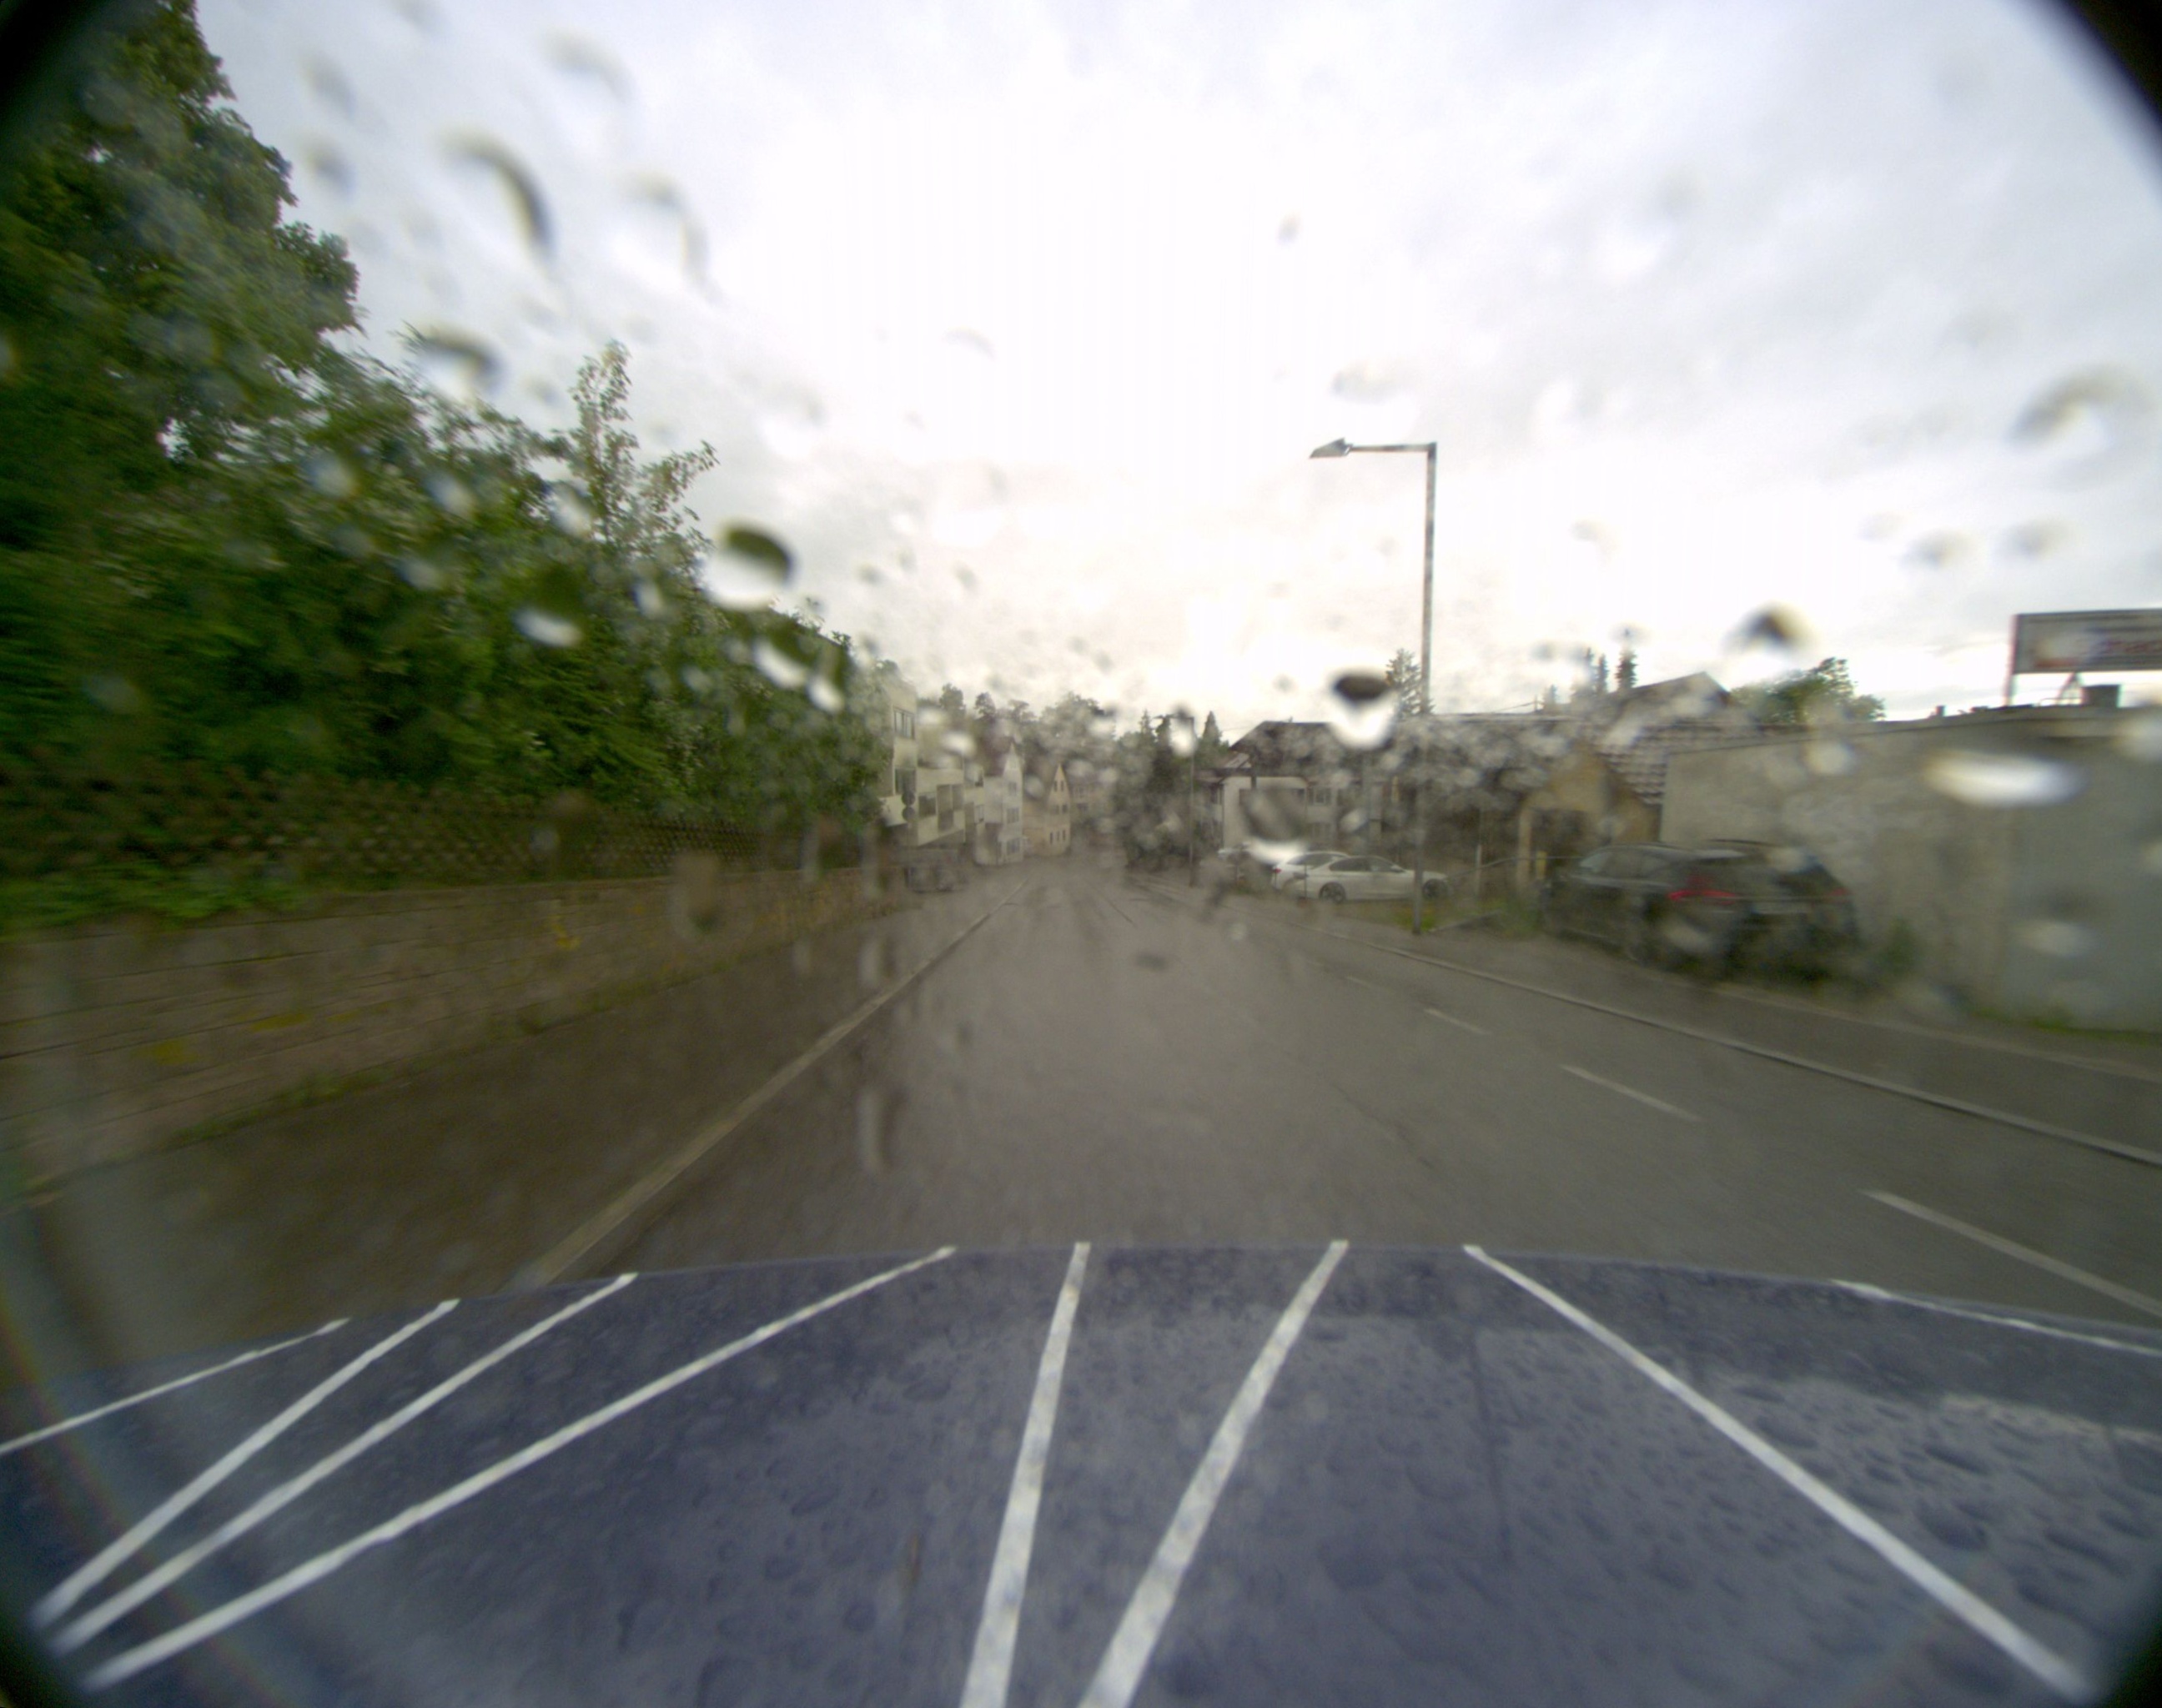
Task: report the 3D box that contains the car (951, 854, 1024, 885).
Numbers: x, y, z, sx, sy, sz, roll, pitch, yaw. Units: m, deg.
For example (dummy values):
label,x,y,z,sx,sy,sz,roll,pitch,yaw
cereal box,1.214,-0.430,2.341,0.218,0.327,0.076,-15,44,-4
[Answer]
label,x,y,z,sx,sy,sz,roll,pitch,yaw
car,-5.317,0.865,43.664,1.783,1.569,4.074,-2,1,37

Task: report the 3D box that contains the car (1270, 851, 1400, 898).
label,x,y,z,sx,sy,sz,roll,pitch,yaw
car,8.463,0.641,25.551,3.991,1.496,1.903,0,1,17

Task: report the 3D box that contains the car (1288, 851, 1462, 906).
label,x,y,z,sx,sy,sz,roll,pitch,yaw
car,8.490,0.684,22.354,4.504,1.496,1.902,0,1,10

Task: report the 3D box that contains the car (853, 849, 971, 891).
label,x,y,z,sx,sy,sz,roll,pitch,yaw
car,-7.327,0.668,33.296,4.720,1.809,1.999,0,1,-2

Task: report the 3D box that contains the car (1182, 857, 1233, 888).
label,x,y,z,sx,sy,sz,roll,pitch,yaw
car,6.518,0.919,39.544,1.899,1.433,4.445,2,1,0

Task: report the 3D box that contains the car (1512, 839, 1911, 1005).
label,x,y,z,sx,sy,sz,roll,pitch,yaw
car,7.748,0.653,10.166,1.977,1.650,4.966,0,1,11

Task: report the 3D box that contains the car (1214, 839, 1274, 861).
label,x,y,z,sx,sy,sz,roll,pitch,yaw
car,11.906,-0.293,55.820,3.997,1.500,1.802,0,4,-1

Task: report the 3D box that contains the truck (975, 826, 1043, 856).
label,x,y,z,sx,sy,sz,roll,pitch,yaw
truck,-7.915,-1.415,84.025,6.965,2.688,2.142,5,3,13

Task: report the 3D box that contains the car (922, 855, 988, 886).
label,x,y,z,sx,sy,sz,roll,pitch,yaw
car,-7.453,0.953,45.177,1.783,1.569,4.073,-2,1,26
